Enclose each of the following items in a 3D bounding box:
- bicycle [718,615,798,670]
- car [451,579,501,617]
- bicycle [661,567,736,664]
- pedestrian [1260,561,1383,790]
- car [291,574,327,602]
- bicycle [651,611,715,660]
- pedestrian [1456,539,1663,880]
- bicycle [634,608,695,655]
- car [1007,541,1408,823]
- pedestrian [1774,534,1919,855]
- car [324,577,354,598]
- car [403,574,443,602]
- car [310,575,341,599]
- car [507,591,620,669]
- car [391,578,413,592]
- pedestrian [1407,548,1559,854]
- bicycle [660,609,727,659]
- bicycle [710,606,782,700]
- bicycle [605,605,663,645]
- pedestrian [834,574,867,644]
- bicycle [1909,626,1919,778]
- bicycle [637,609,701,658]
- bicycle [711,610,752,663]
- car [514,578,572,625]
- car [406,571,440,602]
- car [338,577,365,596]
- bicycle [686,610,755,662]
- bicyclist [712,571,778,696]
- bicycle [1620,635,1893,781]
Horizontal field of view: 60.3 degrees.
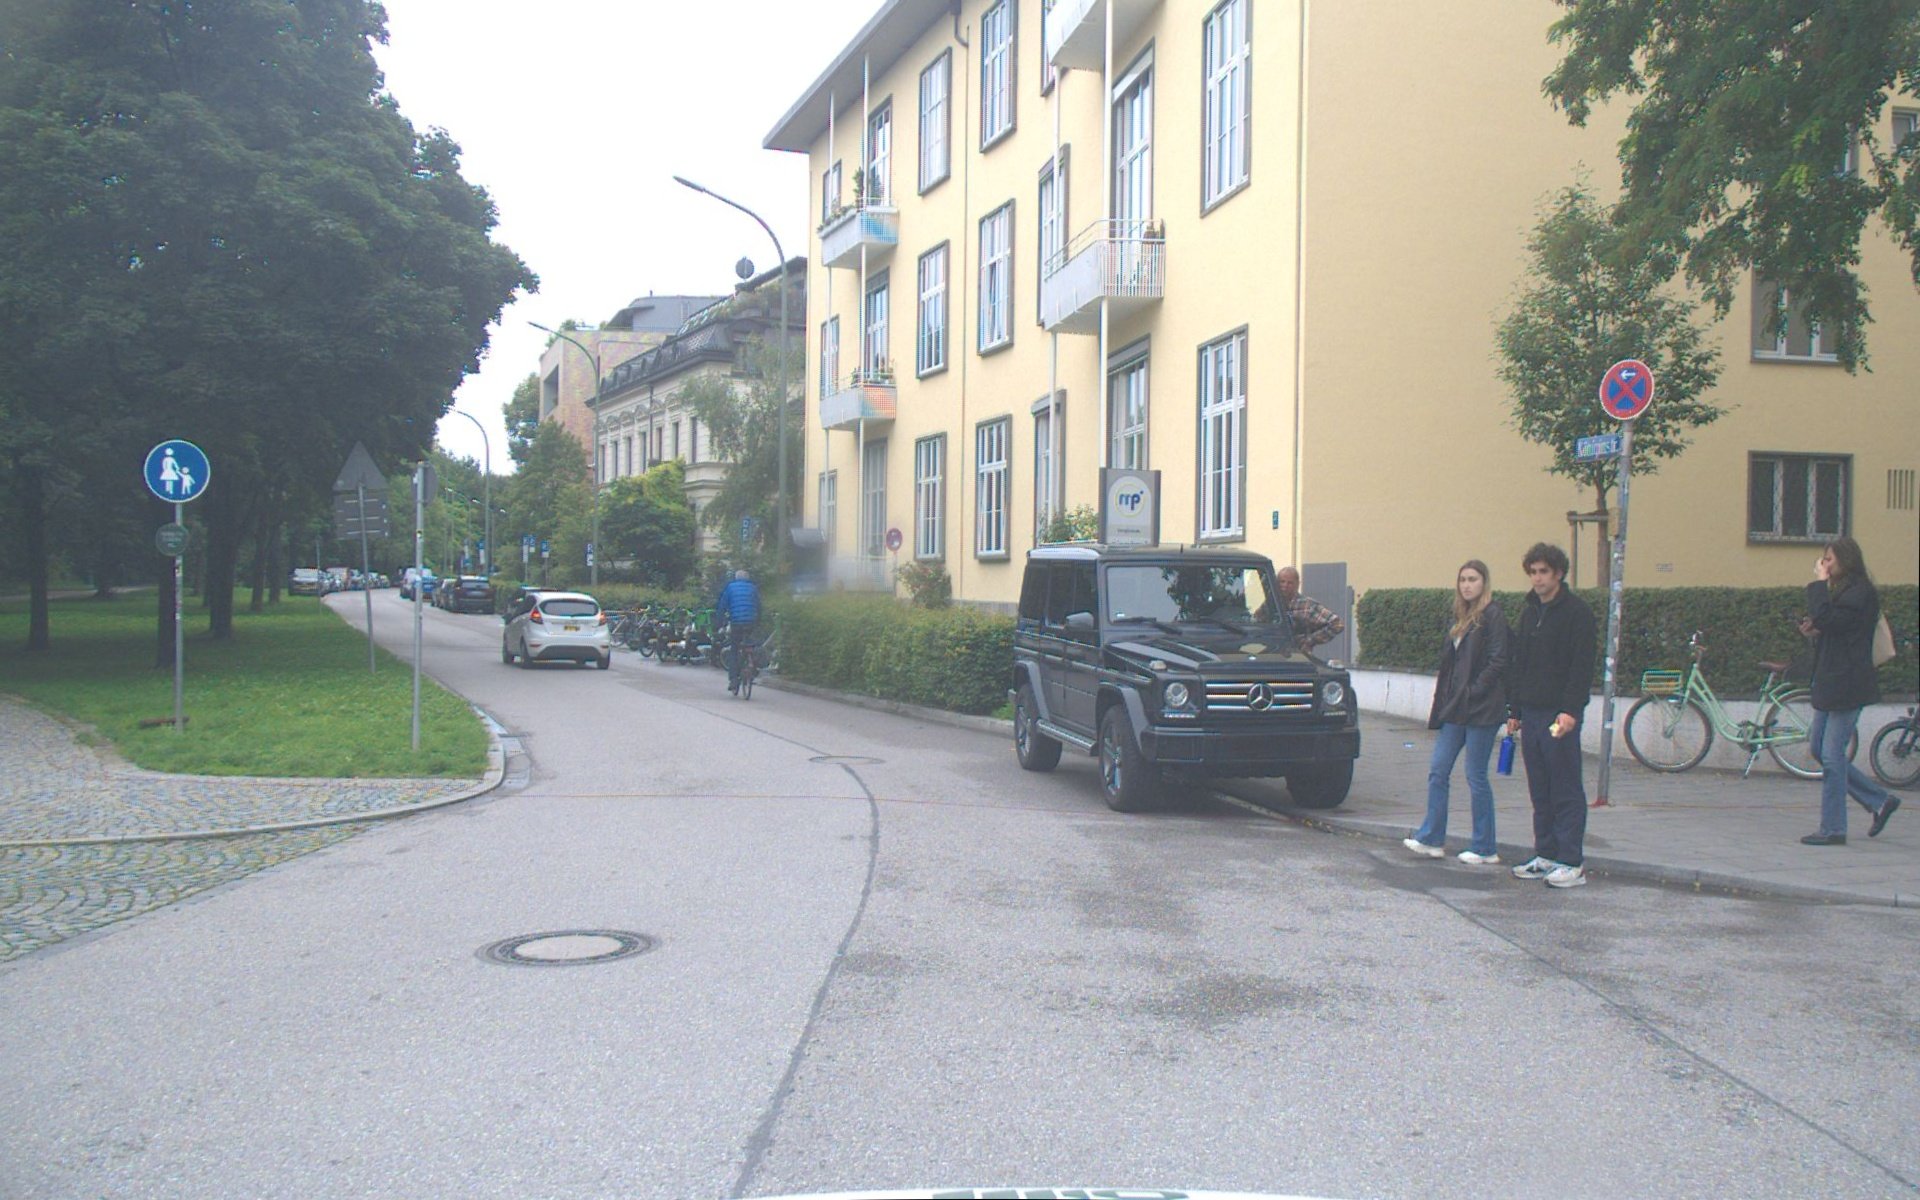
[{"bbox_3d":[-3.957,0.830,32.462,1.513,1.032,0.364,-1,1,-24],"label":"bicycle"},{"bbox_3d":[-22.360,-0.112,76.289,1.769,1.709,3.971,0,1,-23],"label":"car"},{"bbox_3d":[-5.621,0.316,35.650,0.448,2.049,1.667,0,1,42],"label":"bicycle"},{"bbox_3d":[2.907,0.583,13.384,0.830,1.788,0.954,0,0,3],"label":"pedestrian"},{"bbox_3d":[-38.920,-0.738,98.861,1.966,1.628,4.437,0,1,-22],"label":"car"},{"bbox_3d":[-6.122,0.771,36.632,0.401,1.032,1.531,0,1,38],"label":"bicycle"},{"bbox_3d":[3.356,0.591,9.322,0.968,1.841,0.660,0,0,6],"label":"pedestrian"},{"bbox_3d":[-6.916,0.727,38.738,0.401,1.032,1.531,0,1,38],"label":"bicycle"},{"bbox_3d":[1.801,0.528,13.710,1.840,1.920,4.606,0,1,-11],"label":"car"},{"bbox_3d":[5.561,0.557,10.163,0.832,1.890,0.767,-1,0,15],"label":"pedestrian"},{"bbox_3d":[-48.141,-0.981,128.336,1.963,1.628,4.445,0,0,-18],"label":"car"},{"bbox_3d":[-32.781,-0.742,100.882,1.967,1.628,4.224,0,1,-23],"label":"car"},{"bbox_3d":[-43.938,-0.920,114.515,1.966,1.628,4.437,0,1,-22],"label":"car"},{"bbox_3d":[-7.923,0.550,32.851,1.722,1.431,3.703,0,0,-21],"label":"car"},{"bbox_3d":[-62.521,-1.686,185.406,1.960,1.628,4.452,0,0,-14],"label":"car"},{"bbox_3d":[3.159,0.582,10.057,0.809,1.776,0.741,0,0,12],"label":"pedestrian"},{"bbox_3d":[-5.814,0.727,36.189,0.402,1.032,1.528,0,1,42],"label":"bicycle"},{"bbox_3d":[-3.181,0.746,24.445,0.904,1.274,2.315,0,1,-11],"label":"bicycle"},{"bbox_3d":[-8.799,0.675,44.689,1.522,1.032,0.404,-1,1,-39],"label":"bicycle"},{"bbox_3d":[-2.724,0.220,41.131,0.622,1.713,0.694,-1,0,-20],"label":"pedestrian"},{"bbox_3d":[8.225,0.775,12.113,2.122,1.135,0.641,0,0,18],"label":"bicycle"},{"bbox_3d":[-6.500,0.743,36.951,0.401,1.032,1.531,0,1,38],"label":"bicycle"},{"bbox_3d":[-4.720,0.746,34.235,0.358,1.032,1.539,-1,1,10],"label":"bicycle"},{"bbox_3d":[-14.730,0.032,58.298,1.623,1.585,3.538,0,1,-20],"label":"car"},{"bbox_3d":[-35.705,-0.889,109.858,2.035,2.000,4.950,0,0,-19],"label":"car"},{"bbox_3d":[-52.403,-1.159,142.552,1.962,1.628,4.445,0,0,-18],"label":"car"},{"bbox_3d":[-5.109,0.758,35.318,1.525,1.032,0.361,-1,1,-43],"label":"bicycle"},{"bbox_3d":[-3.190,0.475,24.493,0.898,1.795,1.212,0,0,-11],"label":"bicyclist"},{"bbox_3d":[6.424,0.844,13.421,0.525,1.104,1.917,1,-2,-45],"label":"bicycle"}]
